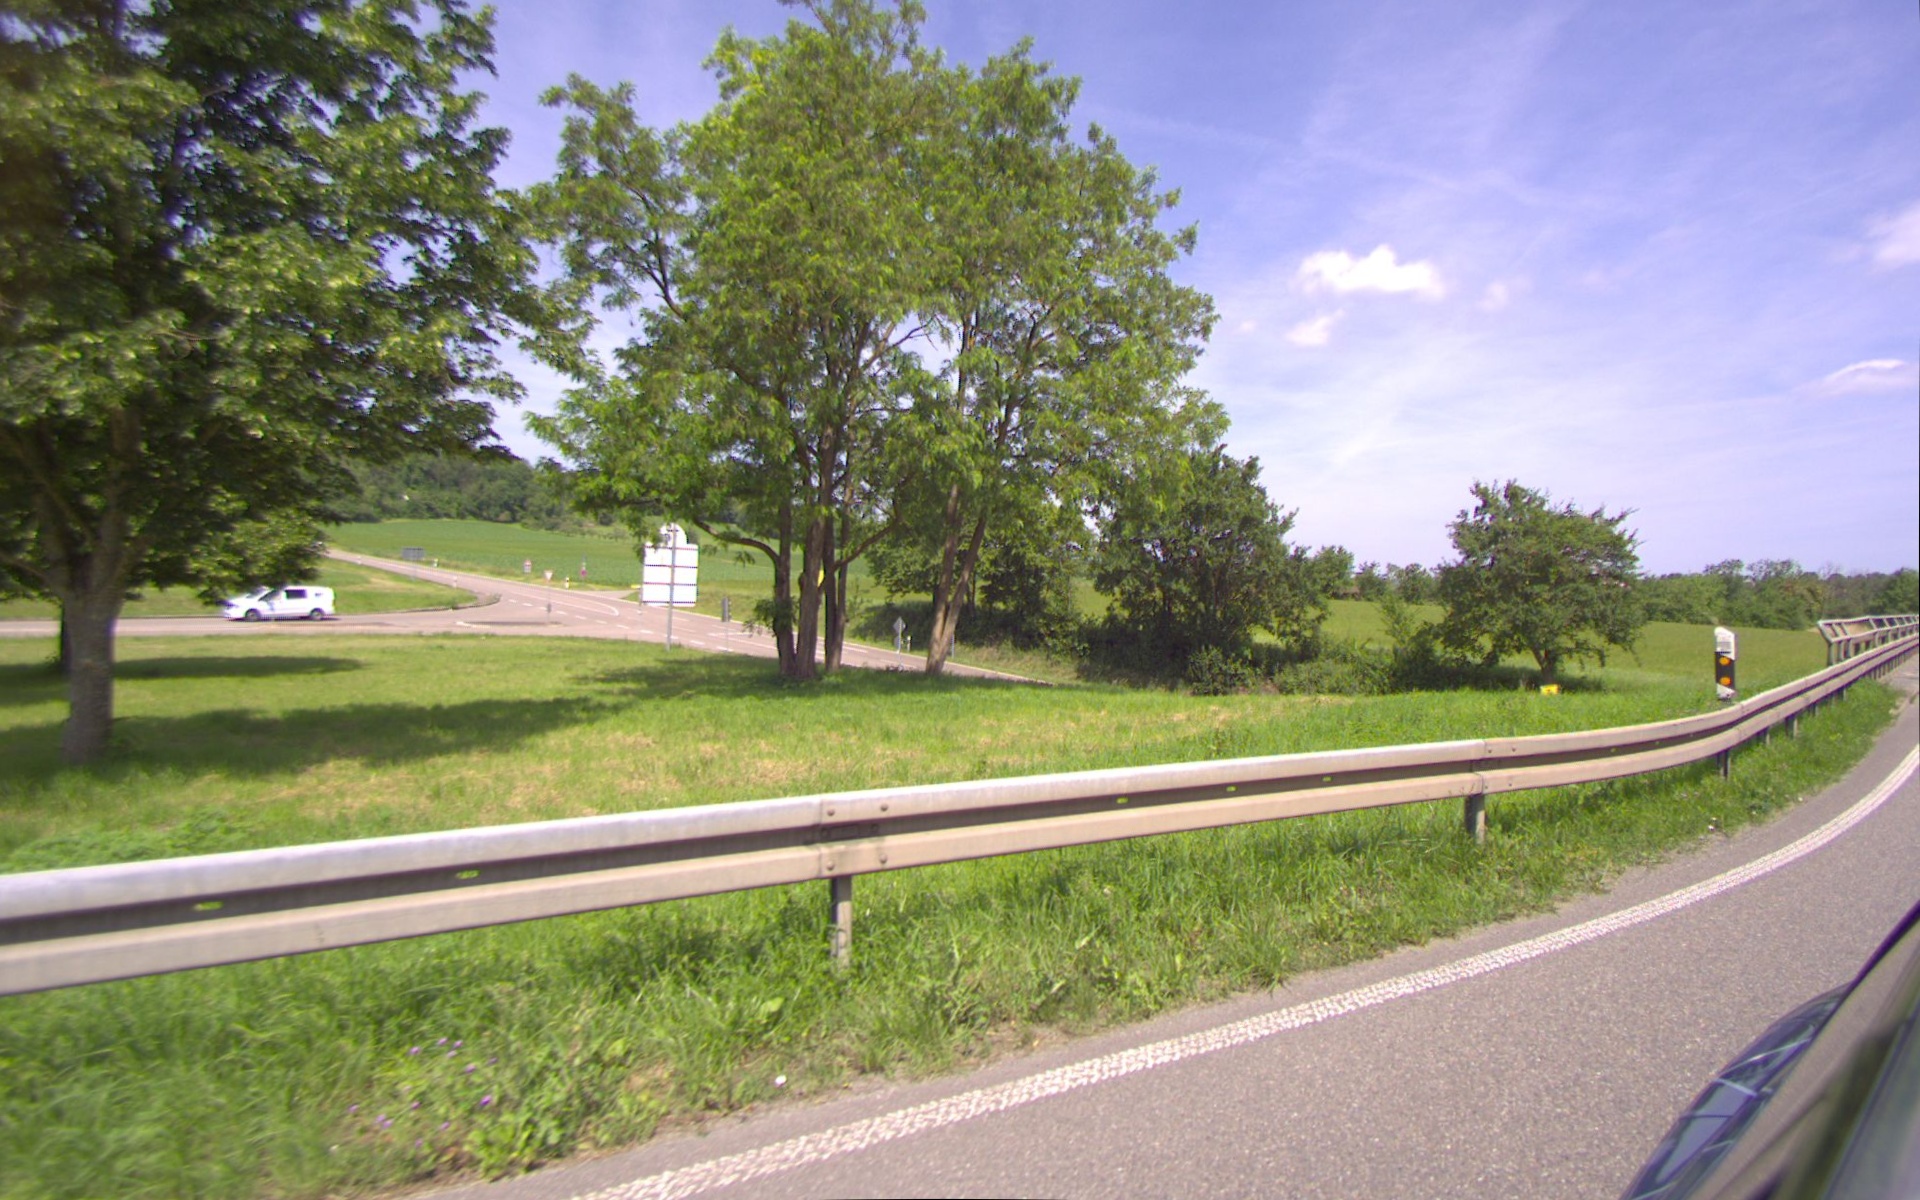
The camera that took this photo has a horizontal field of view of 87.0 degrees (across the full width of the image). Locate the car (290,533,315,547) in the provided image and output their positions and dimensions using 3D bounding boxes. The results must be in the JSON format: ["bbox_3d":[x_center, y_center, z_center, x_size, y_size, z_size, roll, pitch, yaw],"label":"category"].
[{"bbox_3d":[-89.679,-8.167,137.991,3.987,1.568,1.784,7,4,41],"label":"car"}]

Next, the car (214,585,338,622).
[{"bbox_3d":[-37.840,0.170,56.133,1.988,1.869,5.352,4,2,35],"label":"car"}]
